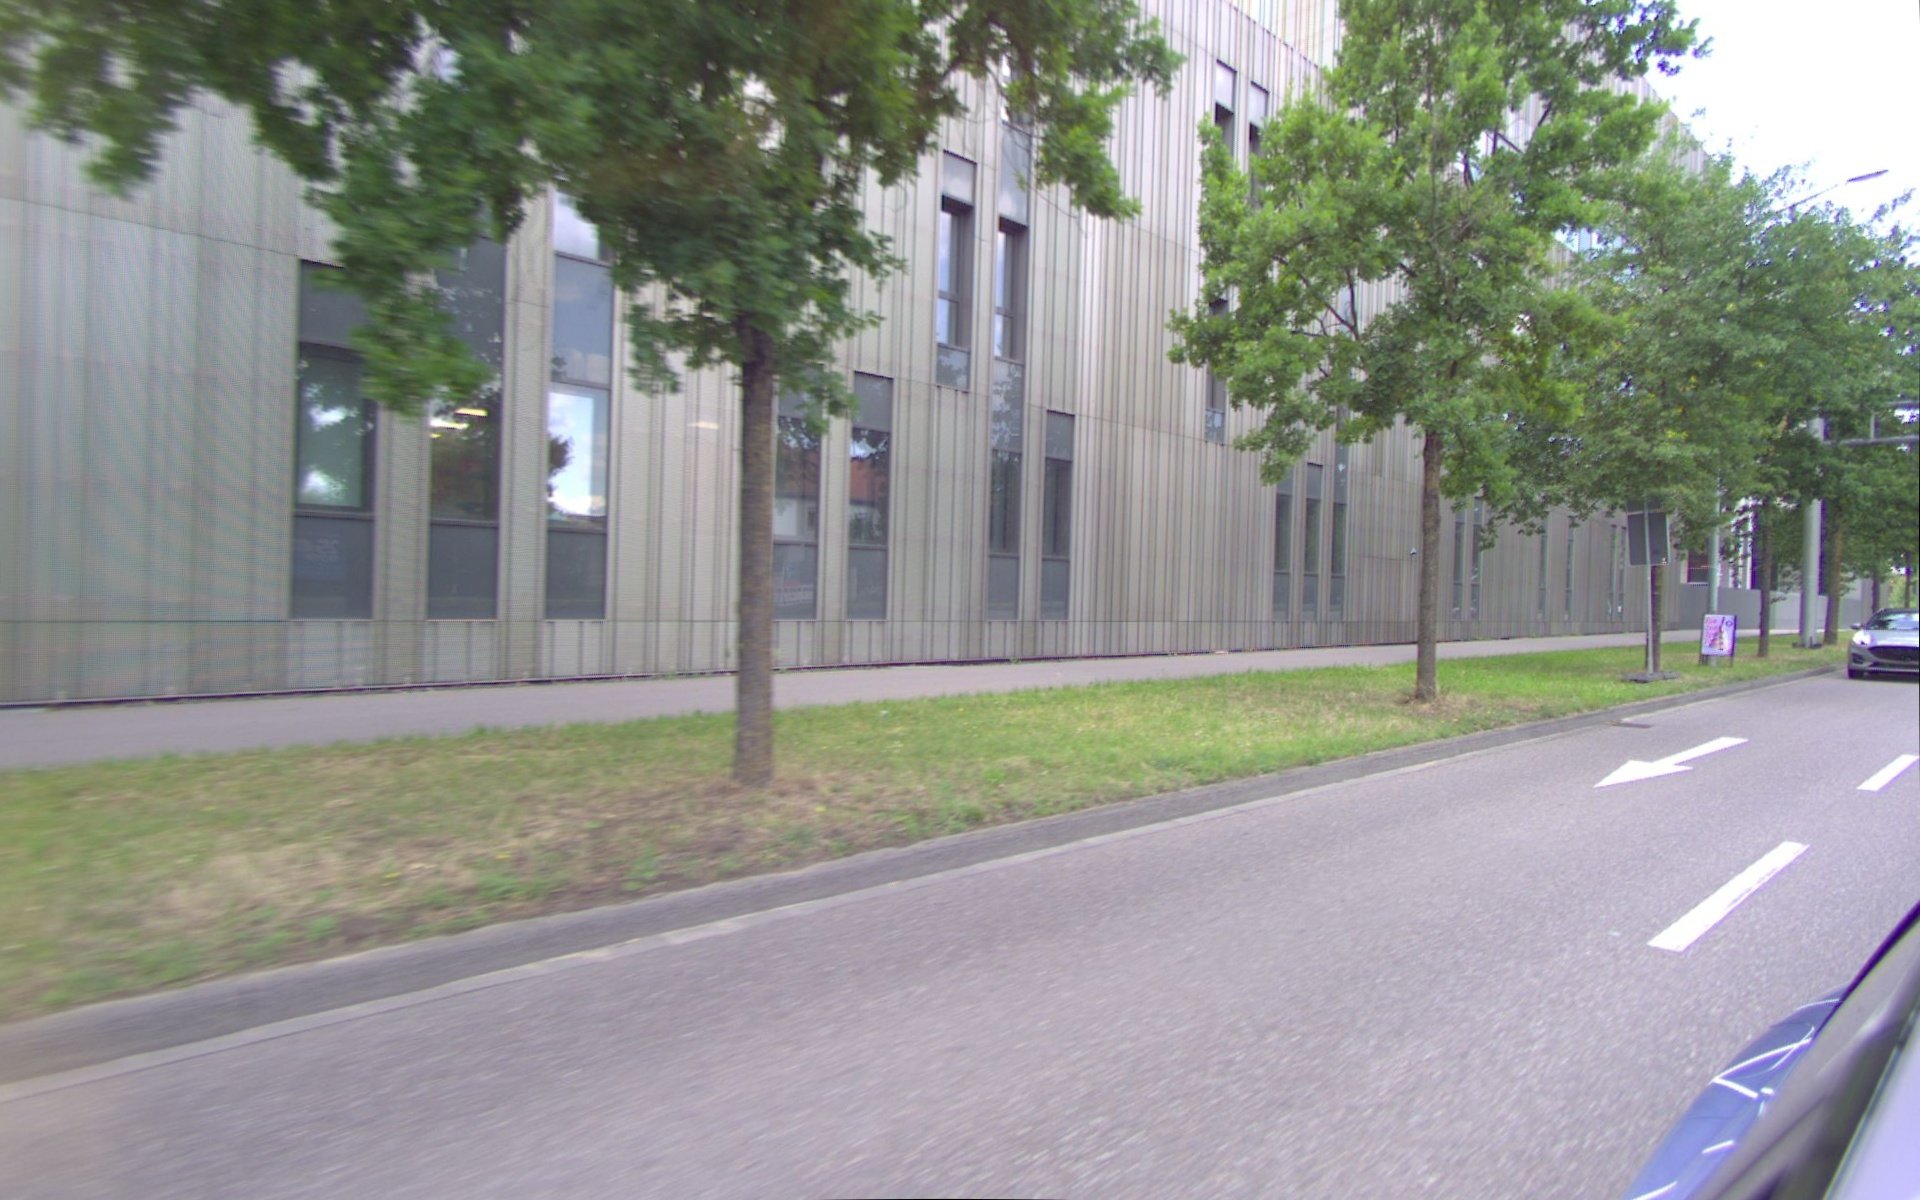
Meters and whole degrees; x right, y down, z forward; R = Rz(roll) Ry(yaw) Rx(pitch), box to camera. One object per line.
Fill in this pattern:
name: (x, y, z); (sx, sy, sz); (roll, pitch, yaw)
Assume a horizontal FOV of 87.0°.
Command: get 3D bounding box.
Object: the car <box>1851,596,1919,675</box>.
car: (20.606, 0.725, 21.661); (3.885, 1.594, 1.822); (1, -1, -41)
